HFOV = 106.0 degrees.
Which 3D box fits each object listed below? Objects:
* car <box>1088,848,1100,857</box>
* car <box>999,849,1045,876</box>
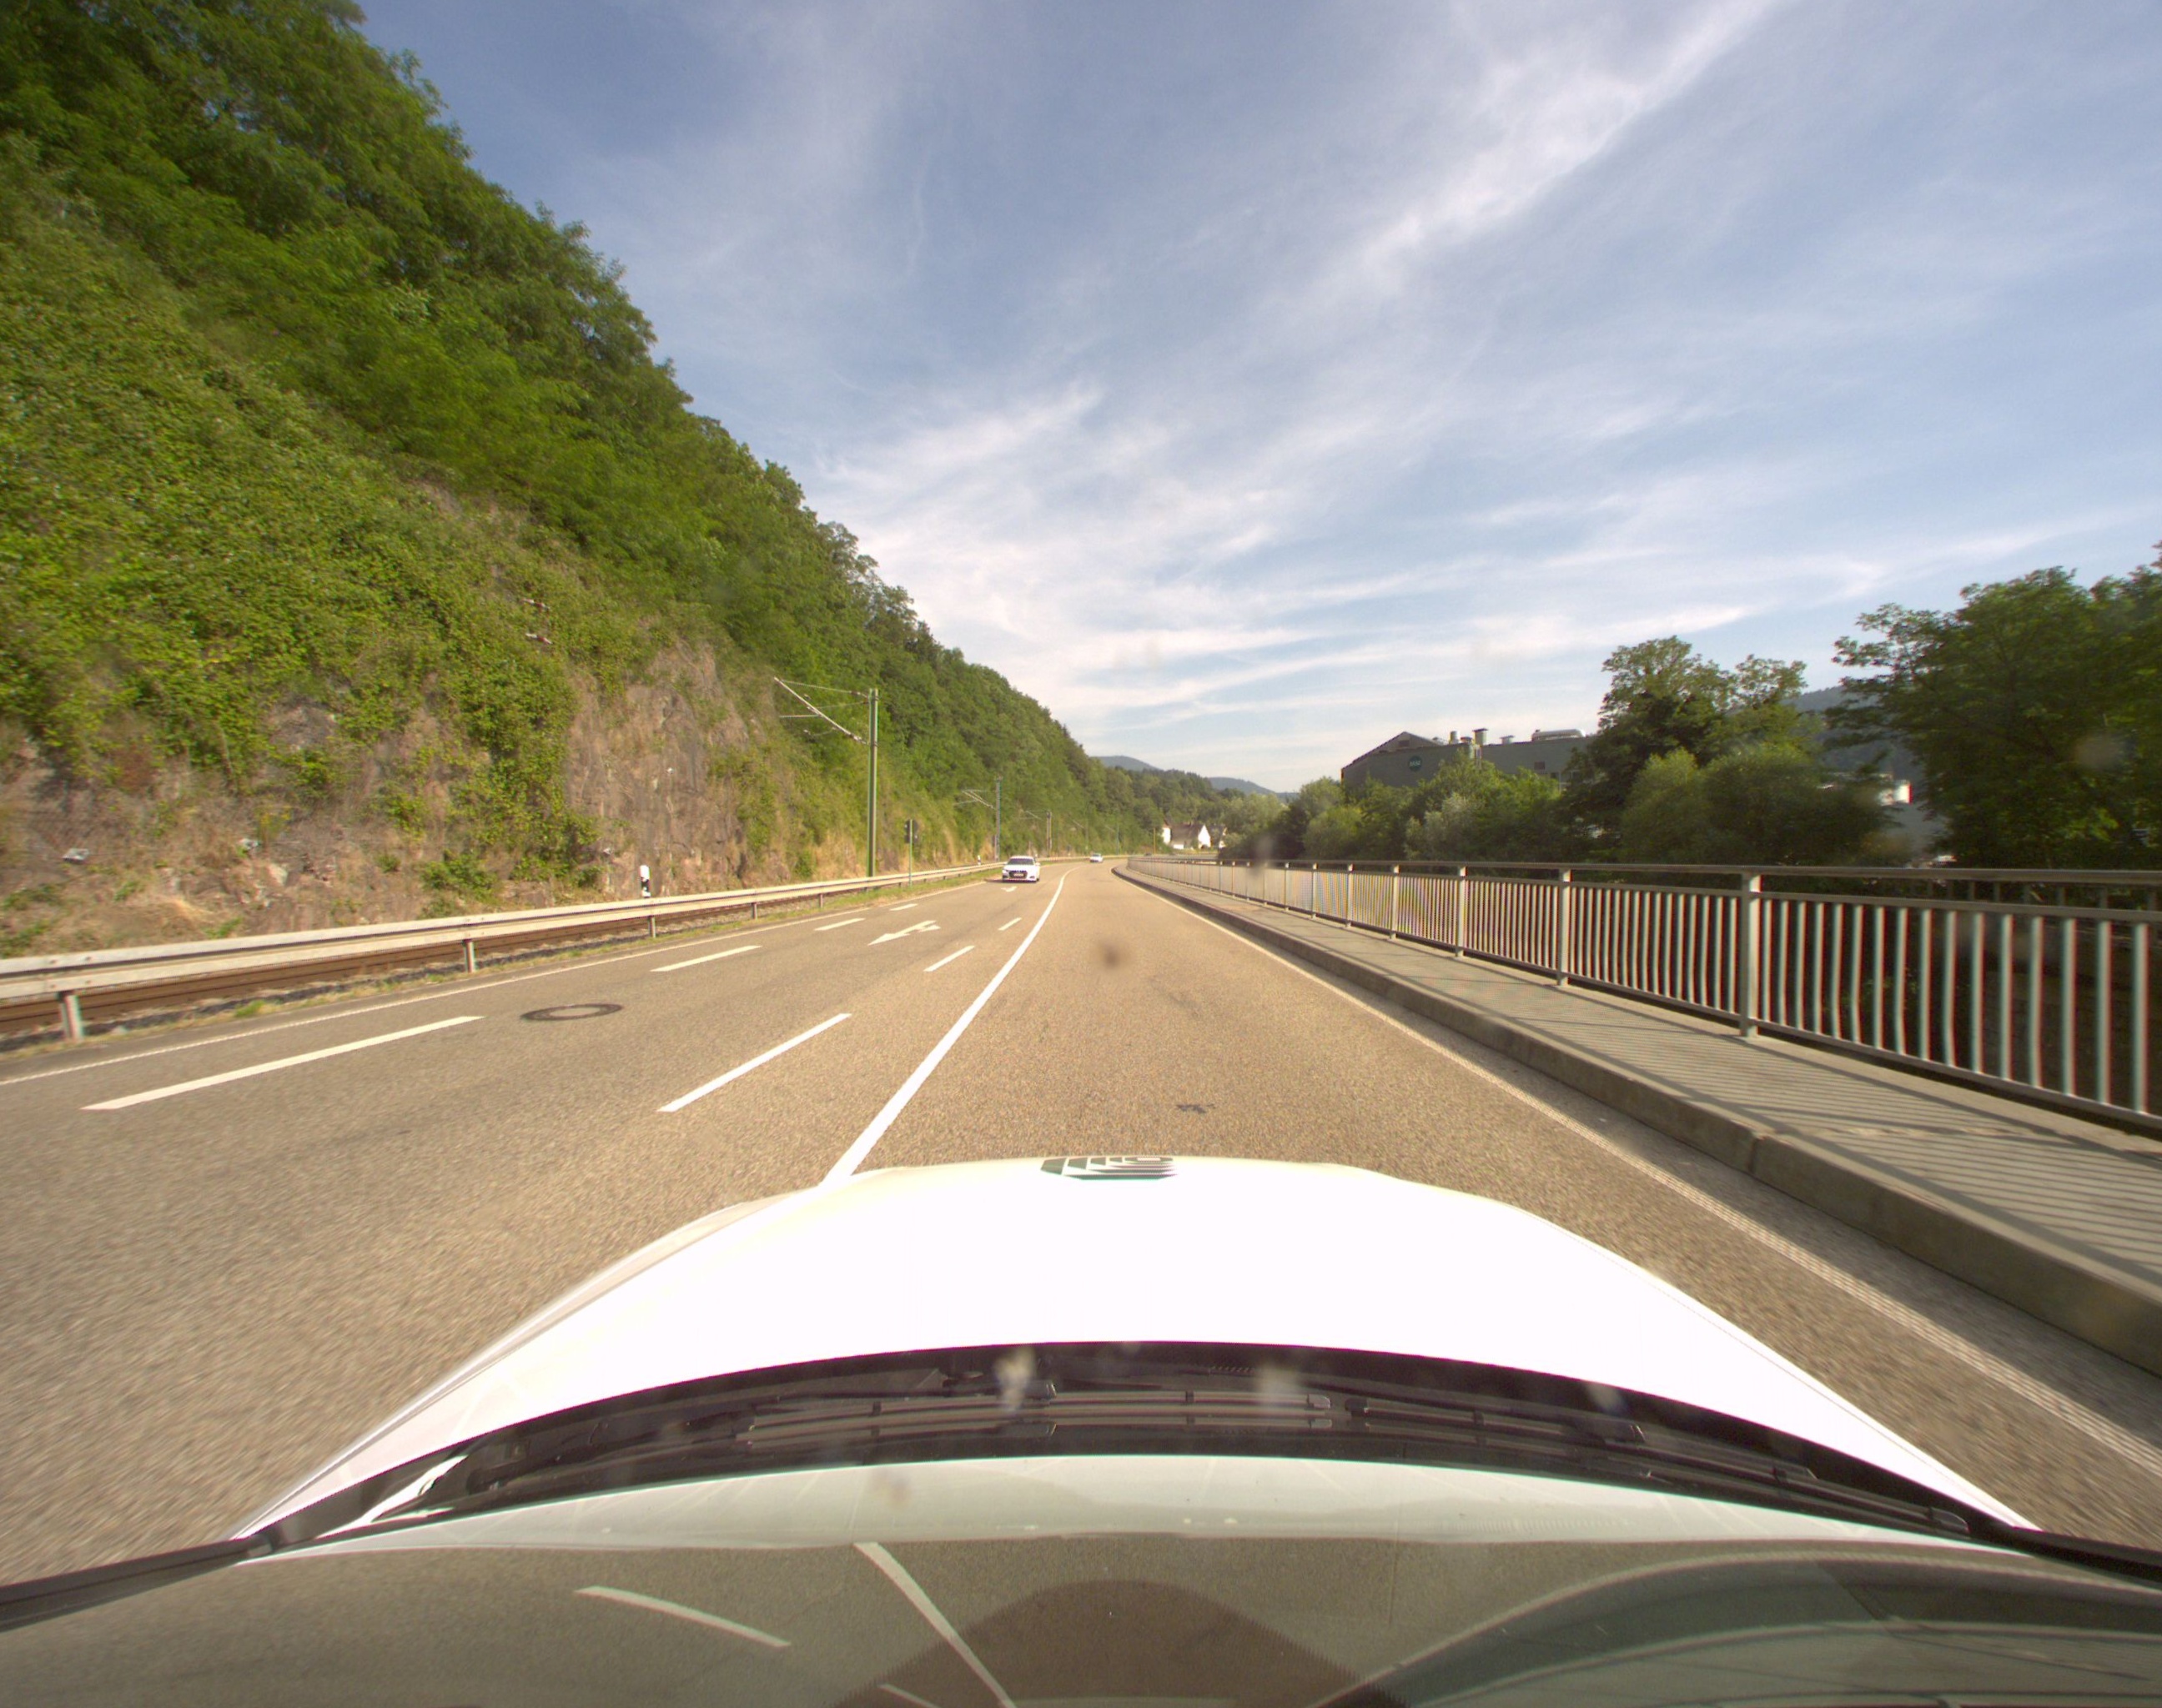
[{"bbox_3d":[2.214,-0.300,139.292,1.841,1.544,4.604,2,0,0],"label":"car"},{"bbox_3d":[-3.275,0.455,45.961,2.056,1.439,4.688,1,0,2],"label":"car"}]
